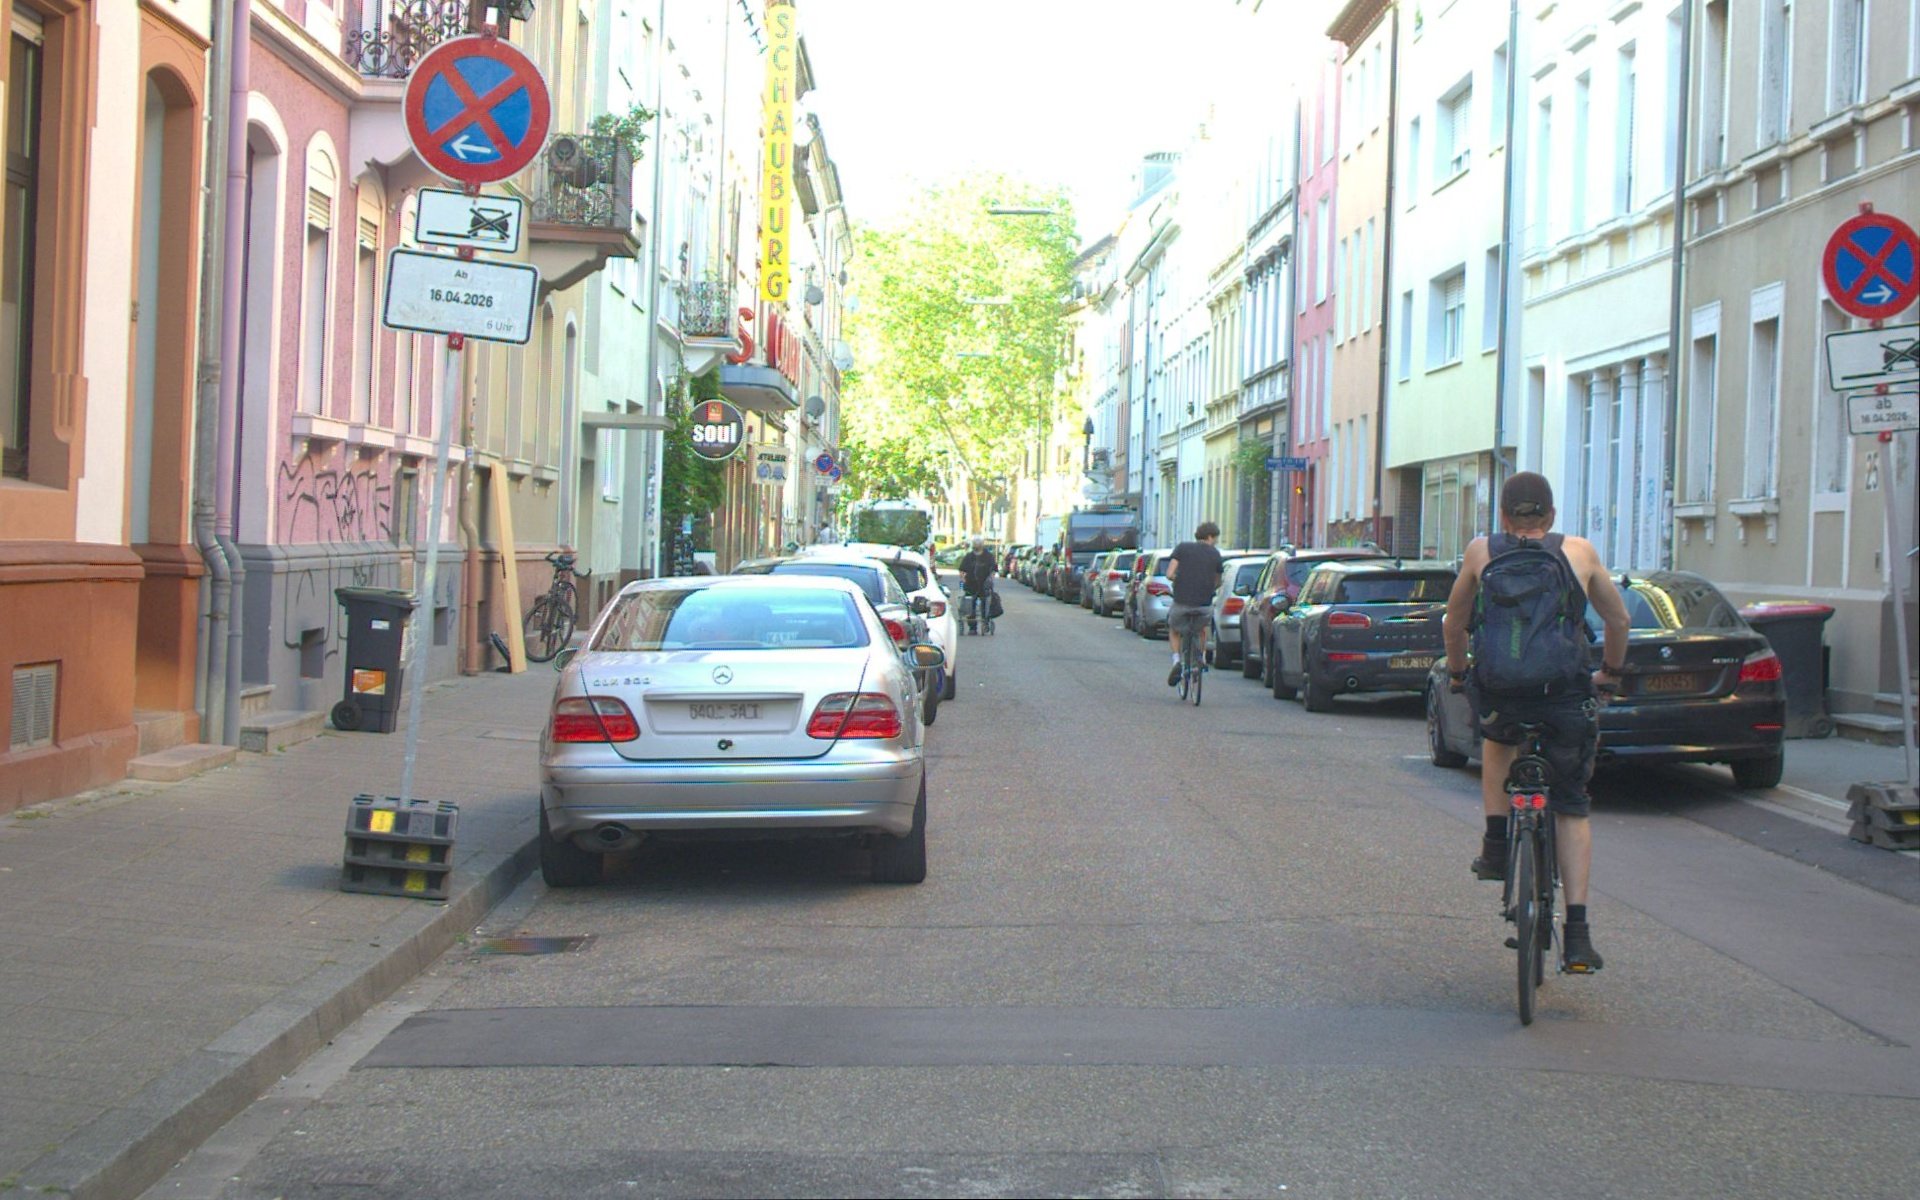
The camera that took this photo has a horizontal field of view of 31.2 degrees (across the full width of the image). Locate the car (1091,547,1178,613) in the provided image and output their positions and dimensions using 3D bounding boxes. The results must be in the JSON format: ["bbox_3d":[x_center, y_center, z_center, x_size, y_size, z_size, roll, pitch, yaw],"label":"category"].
[{"bbox_3d":[3.888,-0.459,77.129,1.710,1.442,4.000,0,1,-1],"label":"car"}]

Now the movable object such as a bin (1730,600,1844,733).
[{"bbox_3d":[6.869,0.548,28.581,0.807,1.071,0.677,-1,1,4],"label":"movable object such as a bin"}]

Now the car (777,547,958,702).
[{"bbox_3d":[-0.881,0.201,33.890,1.672,1.437,4.165,0,1,-1],"label":"car"}]

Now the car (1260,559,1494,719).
[{"bbox_3d":[4.113,0.348,34.479,1.817,1.516,4.000,0,1,-1],"label":"car"}]

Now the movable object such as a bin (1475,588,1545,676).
[{"bbox_3d":[6.856,0.396,42.874,0.807,1.071,0.677,-1,1,4],"label":"movable object such as a bin"}]

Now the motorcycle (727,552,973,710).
[{"bbox_3d":[-0.989,0.268,31.078,2.146,1.354,0.540,-1,2,-18],"label":"motorcycle"}]

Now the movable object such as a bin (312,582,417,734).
[{"bbox_3d":[-3.847,0.372,22.231,0.543,0.941,0.487,3,0,0],"label":"movable object such as a bin"}]

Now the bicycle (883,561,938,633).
[{"bbox_3d":[-0.809,-0.055,55.997,0.699,1.101,2.275,3,1,-4],"label":"bicycle"}]

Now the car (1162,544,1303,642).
[{"bbox_3d":[3.970,-0.125,50.548,1.710,1.378,4.000,0,1,-1],"label":"car"}]

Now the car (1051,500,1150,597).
[{"bbox_3d":[3.728,-1.369,92.634,2.307,2.529,6.770,0,1,-1],"label":"car"}]

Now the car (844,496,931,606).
[{"bbox_3d":[-1.741,-1.175,81.289,1.909,2.488,4.166,1,1,-3],"label":"car"}]

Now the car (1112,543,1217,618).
[{"bbox_3d":[3.860,-0.380,65.377,1.710,1.389,4.000,0,1,-1],"label":"car"}]

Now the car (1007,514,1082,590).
[{"bbox_3d":[2.869,-1.635,118.081,2.307,2.529,6.770,0,1,-1],"label":"car"}]

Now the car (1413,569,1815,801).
[{"bbox_3d":[4.386,0.505,23.789,1.817,1.433,4.791,0,1,-1],"label":"car"}]

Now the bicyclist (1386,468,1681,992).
[{"bbox_3d":[1.889,0.402,11.469,0.702,1.627,1.090,3,1,0],"label":"bicyclist"}]

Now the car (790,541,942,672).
[{"bbox_3d":[-1.059,0.049,39.672,1.672,1.437,3.768,0,1,-1],"label":"car"}]

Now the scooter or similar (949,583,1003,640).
[{"bbox_3d":[0.254,0.178,55.990,0.770,0.870,0.771,3,0,-5],"label":"scooter or similar"}]

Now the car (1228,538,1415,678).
[{"bbox_3d":[4.159,0.068,40.046,1.710,1.551,4.000,0,1,-1],"label":"car"}]

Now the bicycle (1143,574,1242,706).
[{"bbox_3d":[2.262,0.371,33.662,0.702,1.204,2.342,3,0,-1],"label":"bicycle"}]

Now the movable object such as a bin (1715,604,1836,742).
[{"bbox_3d":[6.520,0.575,27.508,0.736,1.071,0.677,-1,1,-7],"label":"movable object such as a bin"}]

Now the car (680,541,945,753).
[{"bbox_3d":[-1.066,0.297,26.712,1.710,1.378,4.356,2,2,2],"label":"car"}]

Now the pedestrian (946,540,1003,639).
[{"bbox_3d":[0.229,-0.176,56.369,0.770,1.573,0.900,3,0,-5],"label":"pedestrian"}]

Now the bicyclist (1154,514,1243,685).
[{"bbox_3d":[2.323,-0.007,33.500,0.702,1.599,0.813,3,0,-1],"label":"bicyclist"}]

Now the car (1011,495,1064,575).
[{"bbox_3d":[3.694,-3.116,165.454,2.307,3.755,6.770,0,1,-1],"label":"car"}]

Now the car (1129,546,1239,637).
[{"bbox_3d":[3.893,-0.168,60.163,1.620,1.545,4.000,0,1,-1],"label":"car"}]

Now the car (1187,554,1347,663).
[{"bbox_3d":[4.014,0.090,45.497,1.710,1.378,4.000,0,1,-1],"label":"car"}]

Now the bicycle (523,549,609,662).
[{"bbox_3d":[-4.020,0.043,35.226,0.592,1.085,2.079,3,1,0],"label":"bicycle"}]

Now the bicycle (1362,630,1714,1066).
[{"bbox_3d":[1.876,0.756,11.516,0.702,1.203,2.342,3,1,0],"label":"bicycle"}]

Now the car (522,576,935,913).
[{"bbox_3d":[-0.987,0.584,16.511,1.710,1.378,4.506,0,1,-1],"label":"car"}]
